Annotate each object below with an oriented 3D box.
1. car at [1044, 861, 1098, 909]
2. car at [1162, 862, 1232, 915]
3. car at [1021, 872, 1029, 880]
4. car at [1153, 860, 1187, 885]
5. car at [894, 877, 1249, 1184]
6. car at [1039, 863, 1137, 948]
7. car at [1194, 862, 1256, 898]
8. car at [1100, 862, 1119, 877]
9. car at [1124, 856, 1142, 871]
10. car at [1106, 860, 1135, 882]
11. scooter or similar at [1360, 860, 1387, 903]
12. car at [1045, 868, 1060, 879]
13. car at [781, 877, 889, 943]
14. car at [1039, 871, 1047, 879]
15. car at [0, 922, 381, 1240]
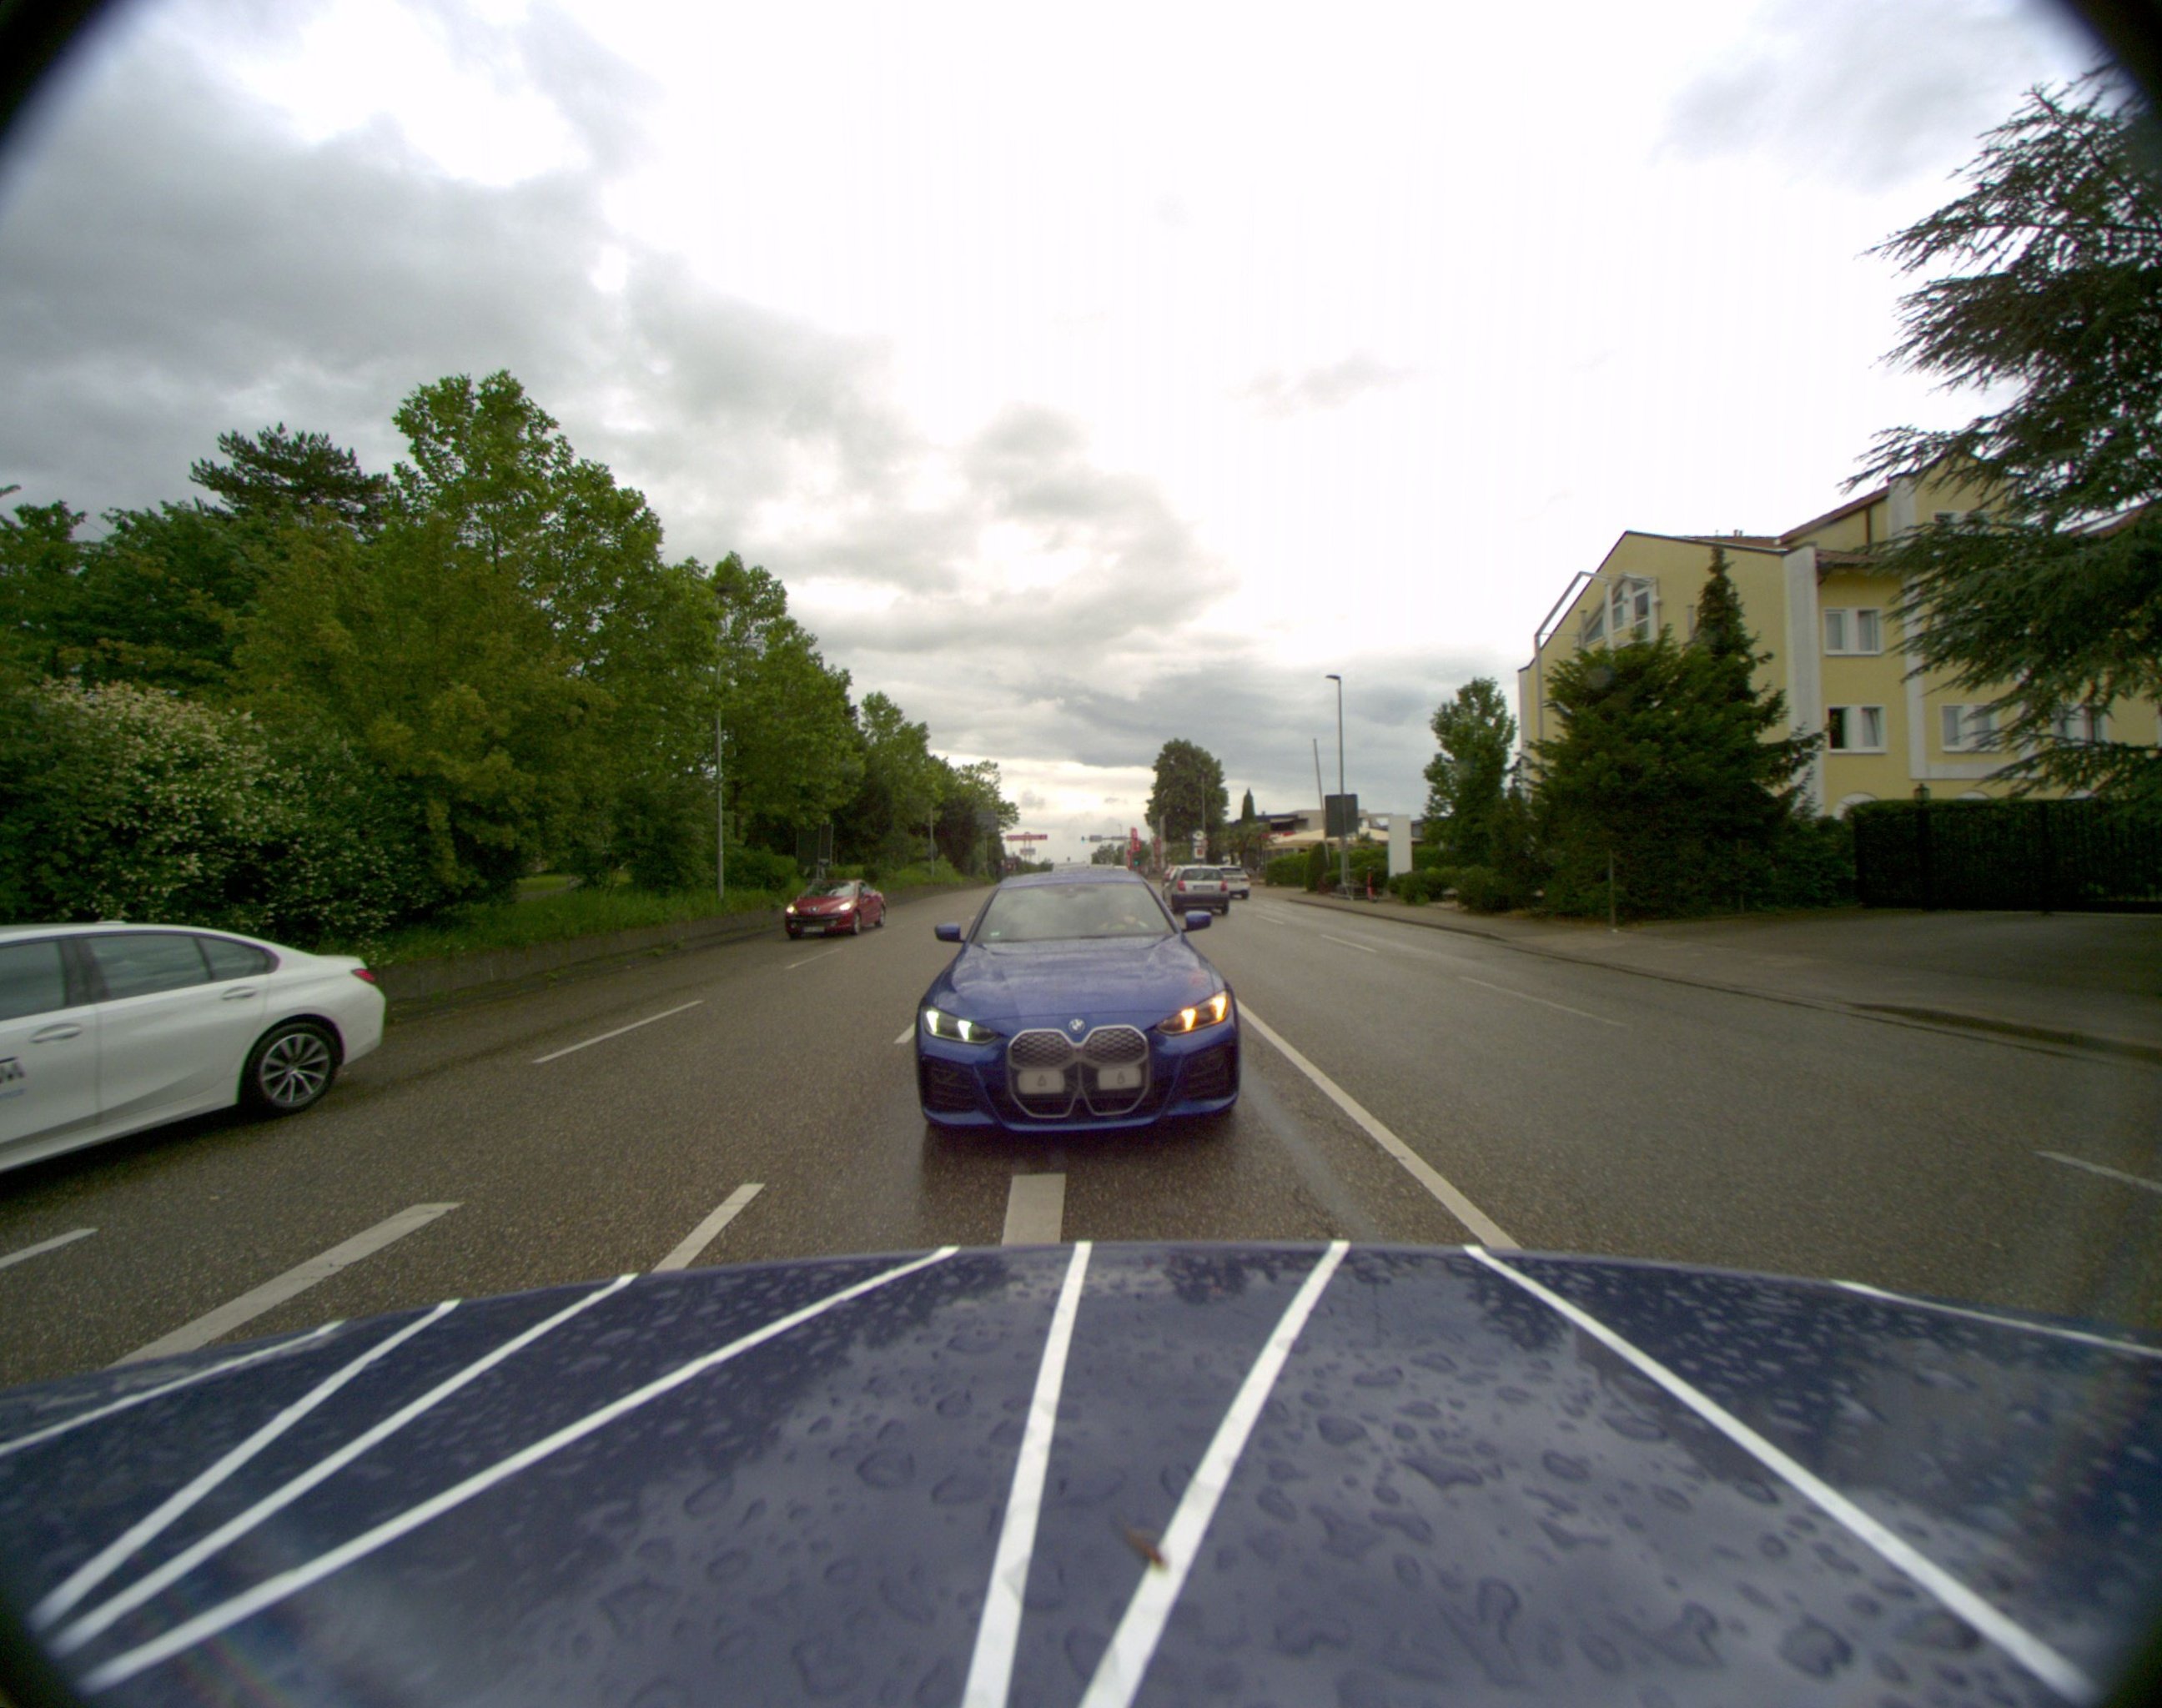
[{"bbox_3d":[-0.320,1.074,27.764,1.807,1.543,4.000,-1,0,0],"label":"car"},{"bbox_3d":[3.476,1.000,23.291,1.643,1.451,3.518,-1,0,0],"label":"car"},{"bbox_3d":[-13.617,5.396,185.773,1.812,1.718,3.998,-3,1,-3],"label":"car"},{"bbox_3d":[5.666,1.138,48.700,1.699,1.467,3.780,0,0,-1],"label":"car"},{"bbox_3d":[-0.046,0.979,6.062,1.803,1.399,4.272,-1,0,0],"label":"car"},{"bbox_3d":[0.144,1.001,16.422,1.807,1.543,4.223,-1,0,0],"label":"car"},{"bbox_3d":[6.300,1.100,33.703,1.790,1.451,4.431,-1,0,-1],"label":"car"},{"bbox_3d":[2.727,1.522,73.550,1.699,1.345,3.780,1,0,0],"label":"car"},{"bbox_3d":[6.106,1.114,89.601,1.764,1.665,3.780,-2,0,-1],"label":"car"},{"bbox_3d":[2.881,1.224,56.097,1.820,1.373,4.272,-4,0,0],"label":"car"},{"bbox_3d":[10.059,0.921,26.167,0.505,1.398,1.882,-1,0,11],"label":"scooter or similar"},{"bbox_3d":[-3.977,2.760,106.414,1.775,1.448,4.000,-1,0,1],"label":"car"},{"bbox_3d":[-6.320,1.393,19.927,1.629,1.395,3.689,-3,0,-1],"label":"car"},{"bbox_3d":[-7.935,4.387,159.495,1.711,1.570,3.518,-1,0,-4],"label":"car"},{"bbox_3d":[-6.347,1.284,3.849,1.669,1.418,4.304,-3,0,-2],"label":"car"}]
